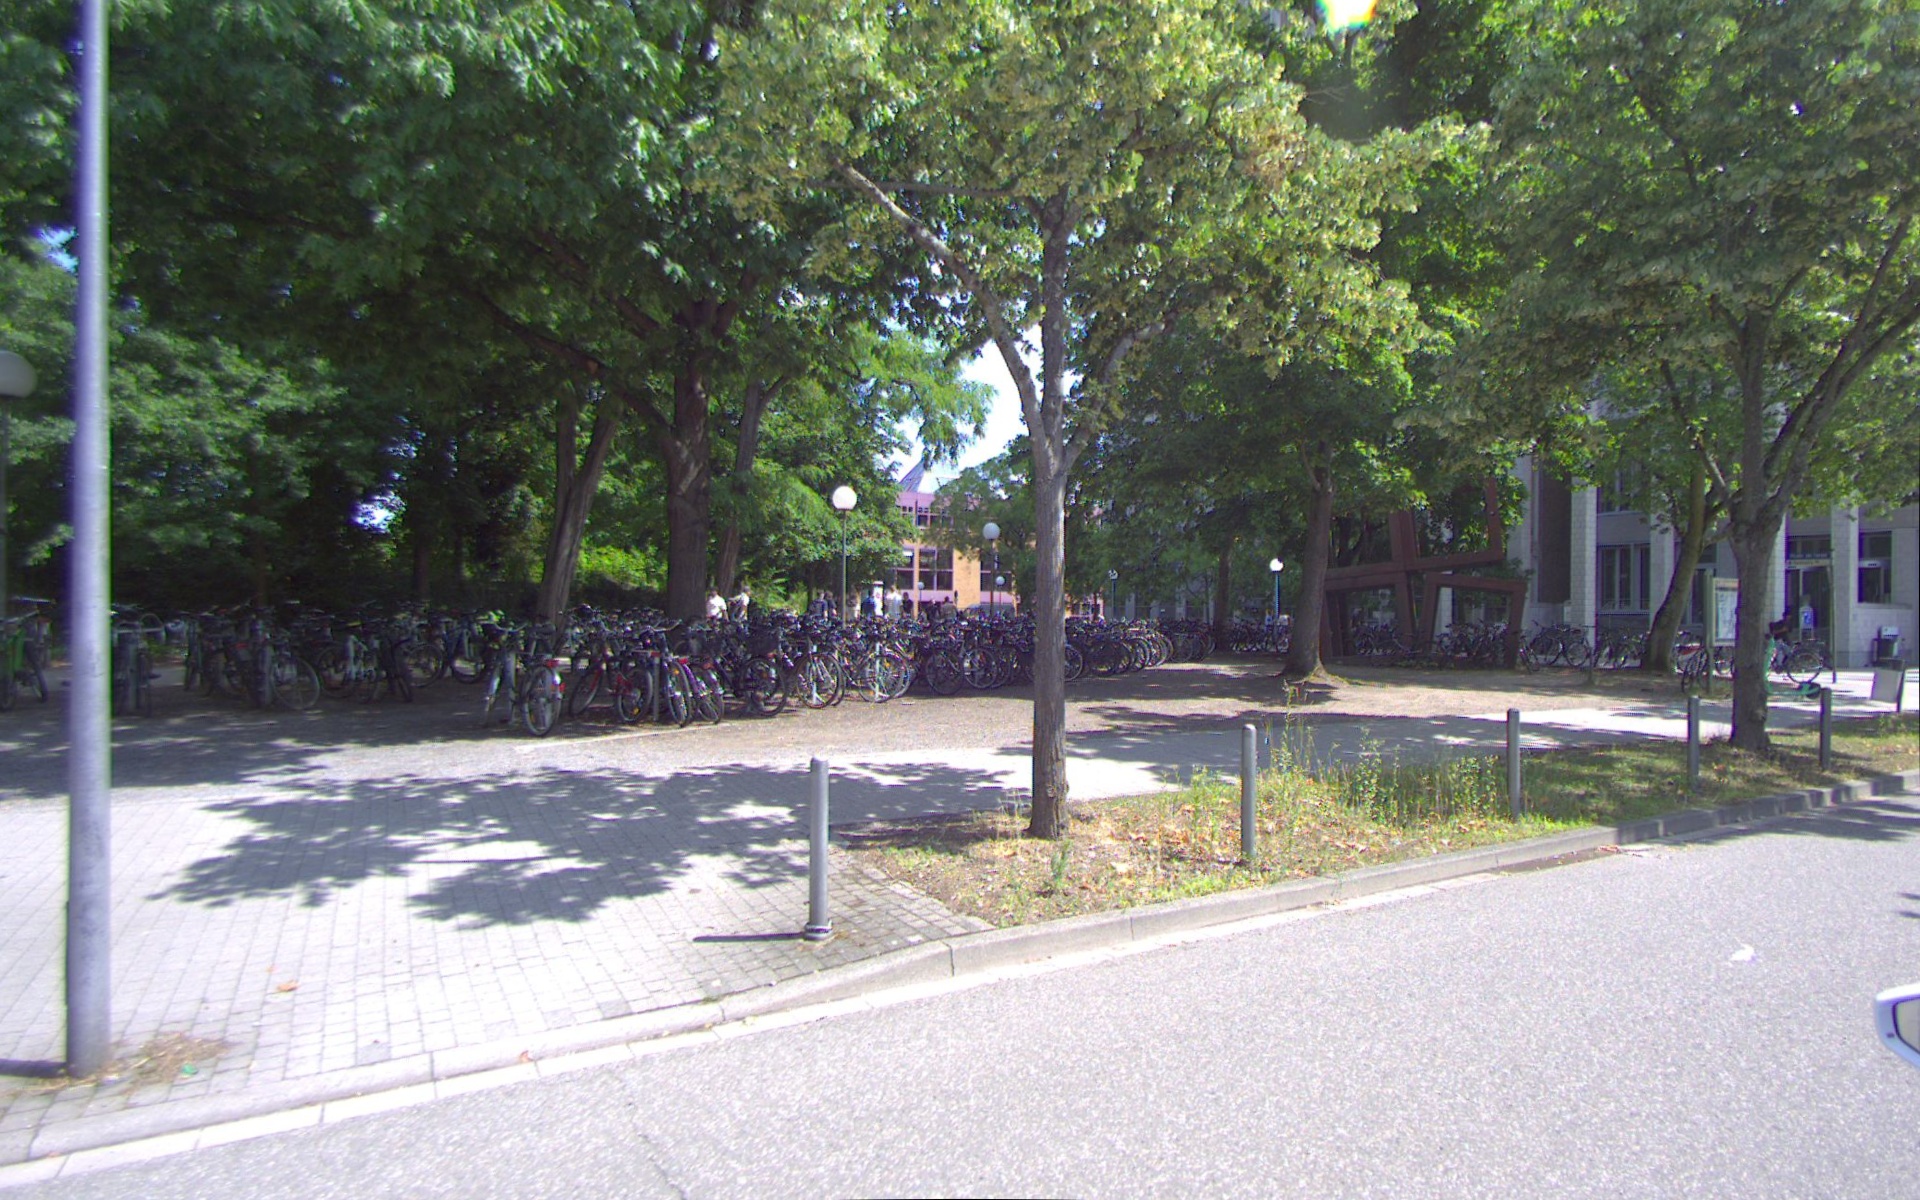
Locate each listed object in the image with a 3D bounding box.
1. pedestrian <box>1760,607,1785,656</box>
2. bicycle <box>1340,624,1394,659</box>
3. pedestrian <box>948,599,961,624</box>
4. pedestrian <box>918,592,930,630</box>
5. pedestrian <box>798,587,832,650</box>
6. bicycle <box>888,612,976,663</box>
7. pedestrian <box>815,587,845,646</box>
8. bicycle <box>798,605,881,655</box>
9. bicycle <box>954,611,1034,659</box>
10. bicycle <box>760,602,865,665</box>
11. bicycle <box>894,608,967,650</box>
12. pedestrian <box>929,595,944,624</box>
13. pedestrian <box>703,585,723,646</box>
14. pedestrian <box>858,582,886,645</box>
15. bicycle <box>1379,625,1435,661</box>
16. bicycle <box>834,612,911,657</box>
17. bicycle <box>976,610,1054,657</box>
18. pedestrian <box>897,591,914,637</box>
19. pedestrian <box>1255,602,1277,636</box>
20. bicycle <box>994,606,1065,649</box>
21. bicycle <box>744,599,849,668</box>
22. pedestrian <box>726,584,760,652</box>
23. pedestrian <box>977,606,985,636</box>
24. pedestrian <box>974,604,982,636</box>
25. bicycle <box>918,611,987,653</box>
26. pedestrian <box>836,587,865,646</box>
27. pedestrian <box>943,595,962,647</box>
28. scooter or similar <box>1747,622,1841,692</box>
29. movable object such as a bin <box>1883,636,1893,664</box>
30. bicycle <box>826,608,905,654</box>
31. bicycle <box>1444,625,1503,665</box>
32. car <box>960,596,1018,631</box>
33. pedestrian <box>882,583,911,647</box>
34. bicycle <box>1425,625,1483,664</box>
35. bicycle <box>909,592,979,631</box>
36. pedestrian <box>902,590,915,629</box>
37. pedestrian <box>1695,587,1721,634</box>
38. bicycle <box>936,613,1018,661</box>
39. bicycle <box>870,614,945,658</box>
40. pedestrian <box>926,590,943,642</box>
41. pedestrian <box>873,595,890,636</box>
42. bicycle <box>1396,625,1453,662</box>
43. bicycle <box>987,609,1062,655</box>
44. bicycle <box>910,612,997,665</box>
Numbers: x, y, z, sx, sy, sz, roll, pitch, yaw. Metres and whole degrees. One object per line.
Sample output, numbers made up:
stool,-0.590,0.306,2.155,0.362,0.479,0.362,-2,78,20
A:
pedestrian,23.650,0.913,29.239,0.440,1.402,0.462,-3,1,-39
bicycle,13.252,1.346,32.680,1.950,1.101,0.549,1,1,-30
pedestrian,-0.366,0.741,66.523,0.595,1.627,0.627,1,0,-30
pedestrian,-1.959,0.574,53.968,0.511,2.040,0.532,1,1,-15
pedestrian,-3.976,0.504,27.527,0.620,1.693,0.729,1,1,25
bicycle,-0.678,0.877,23.929,2.022,1.147,0.639,0,1,25
pedestrian,-3.818,0.481,29.504,0.545,1.693,0.703,1,1,25
bicycle,-2.995,0.724,24.927,2.022,1.148,0.639,1,1,25
bicycle,0.900,0.921,26.836,2.021,1.148,0.639,3,2,25
bicycle,-2.887,0.627,19.605,2.022,1.148,0.639,1,1,25
bicycle,-0.845,0.821,28.869,2.022,1.148,0.639,1,1,25
pedestrian,-1.328,0.552,57.747,0.751,1.618,0.391,1,0,-31
pedestrian,-6.650,0.415,27.082,0.453,1.636,0.350,1,1,-6
pedestrian,-2.774,0.421,31.789,0.610,1.960,0.681,1,1,25
bicycle,14.049,1.339,31.579,1.950,1.101,0.549,1,1,-30
bicycle,-2.371,0.918,27.093,2.022,1.148,0.639,1,1,25
bicycle,1.522,0.911,27.981,2.022,1.147,0.639,4,2,25
pedestrian,-2.077,0.527,38.221,0.405,1.736,0.544,1,1,29
pedestrian,14.232,0.879,46.784,0.714,1.561,0.696,1,0,-40
bicycle,2.091,0.821,30.320,2.022,1.148,0.639,4,2,25
bicycle,-3.113,0.609,19.032,2.022,1.148,0.478,4,2,25
pedestrian,-5.520,0.441,25.585,0.567,1.693,0.630,1,1,25
pedestrian,1.412,1.414,68.203,0.457,2.041,0.611,1,1,3
pedestrian,1.176,1.302,64.899,0.446,2.041,0.611,1,1,3
bicycle,-0.249,0.966,31.169,2.022,1.148,0.639,4,2,25
pedestrian,-3.191,0.484,29.320,0.545,1.693,0.693,1,1,25
pedestrian,-0.292,0.818,39.363,0.583,2.040,0.532,1,1,-15
scooter or similar,14.852,1.005,17.899,1.301,1.191,0.340,1,0,5
movable object such as a bin,30.356,1.636,32.856,0.444,0.907,0.167,1,0,-36
bicycle,-2.467,0.789,26.210,2.022,1.148,0.639,1,1,25
bicycle,15.095,1.309,29.502,1.950,1.101,0.549,1,1,-30
car,2.405,1.101,83.154,4.583,2.813,1.980,1,0,-36
pedestrian,-1.992,0.459,31.406,0.636,1.960,0.696,1,1,25
bicycle,14.776,1.315,30.021,1.950,1.101,0.549,1,1,-30
bicycle,-0.491,0.334,30.483,2.022,1.147,0.639,1,0,25
pedestrian,-2.785,0.512,54.190,0.566,2.040,0.532,1,1,-15
pedestrian,27.194,0.383,36.527,0.623,1.683,0.693,1,0,28
bicycle,0.440,0.930,25.773,2.022,1.148,0.639,1,1,25
bicycle,-1.475,0.979,28.013,2.022,1.148,0.639,1,1,25
pedestrian,-0.992,0.630,39.370,0.511,2.040,0.532,1,1,-15
pedestrian,-2.997,0.572,38.434,0.402,1.547,0.486,1,1,30
bicycle,14.242,1.320,30.786,1.950,1.101,0.549,1,1,-30
bicycle,1.880,0.910,29.193,2.022,1.148,0.674,4,2,25
bicycle,-0.173,0.925,24.863,2.022,1.148,0.639,4,2,25
